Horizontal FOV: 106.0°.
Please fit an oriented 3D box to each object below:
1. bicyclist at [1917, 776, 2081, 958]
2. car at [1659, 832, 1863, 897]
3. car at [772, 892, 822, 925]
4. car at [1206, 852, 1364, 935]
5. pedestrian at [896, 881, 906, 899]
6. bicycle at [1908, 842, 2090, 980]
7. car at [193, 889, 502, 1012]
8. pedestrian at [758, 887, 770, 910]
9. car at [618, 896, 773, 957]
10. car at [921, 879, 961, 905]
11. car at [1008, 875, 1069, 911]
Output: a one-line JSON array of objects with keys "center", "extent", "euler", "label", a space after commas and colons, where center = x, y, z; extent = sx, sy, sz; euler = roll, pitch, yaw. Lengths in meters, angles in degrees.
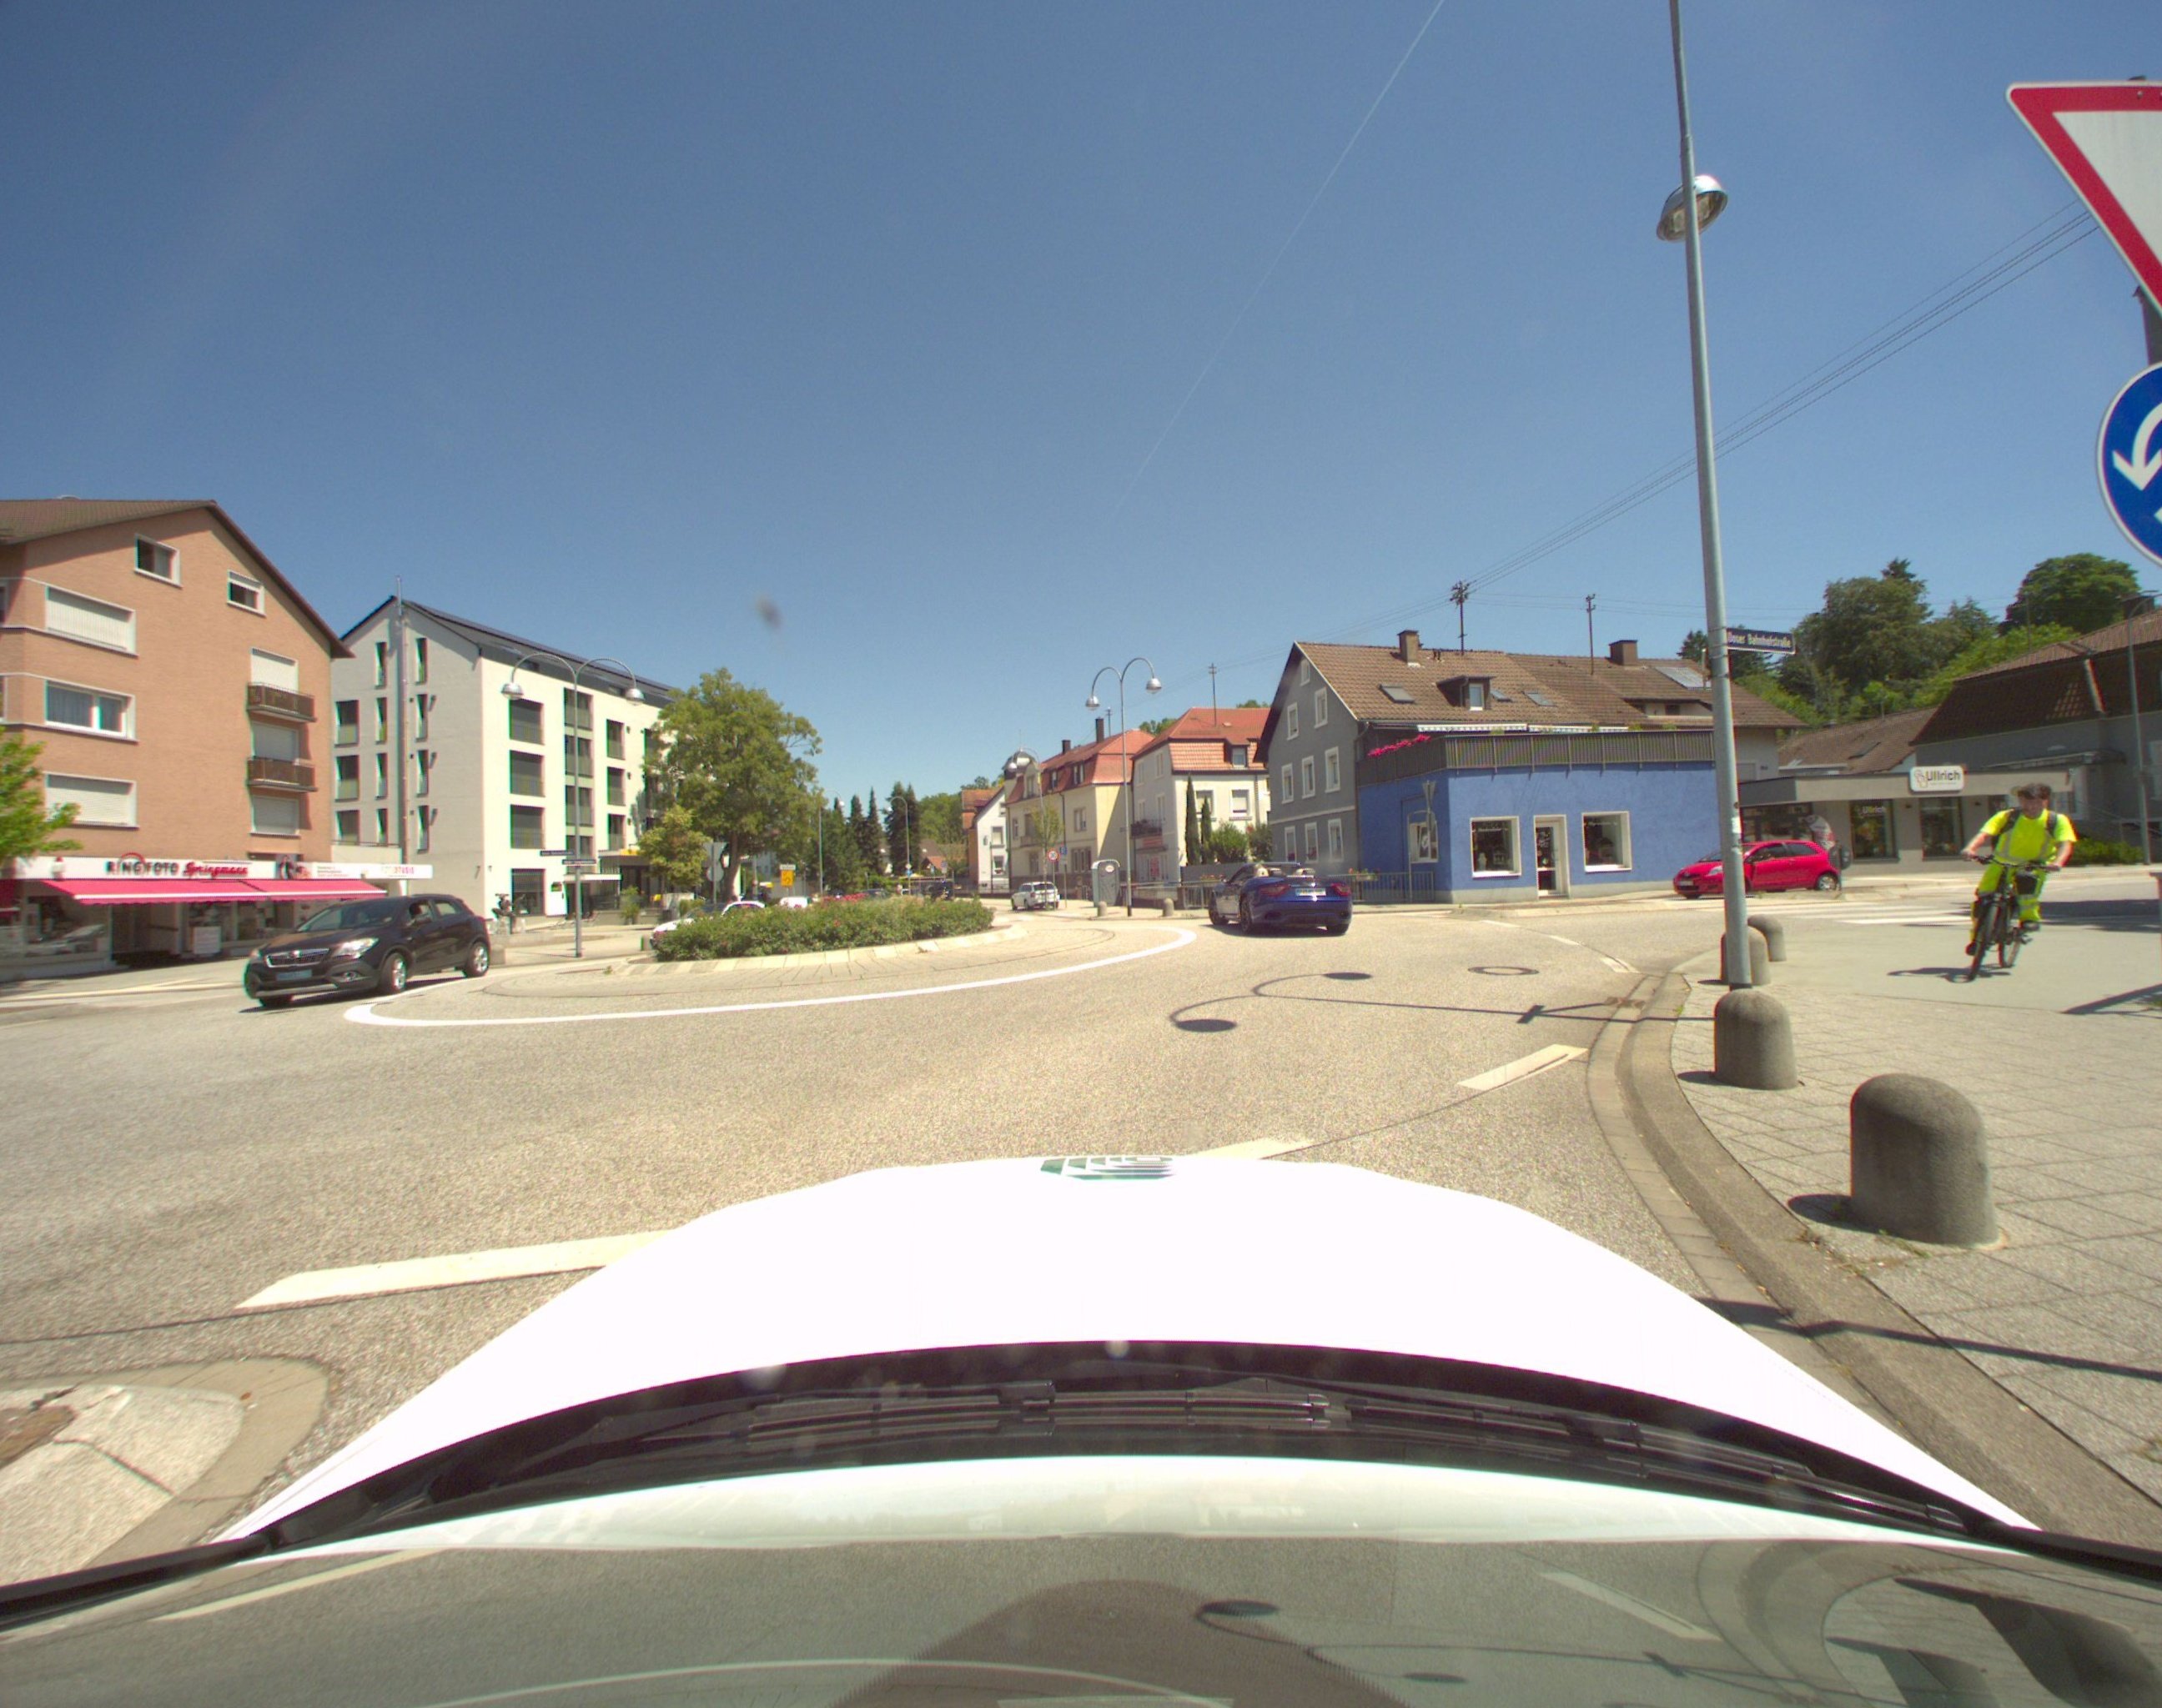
[{"center": [8.927, 0.119, 7.929], "extent": [1.066, 1.635, 0.802], "euler": [-2, -2, -31], "label": "bicyclist"}, {"center": [18.332, 0.310, 22.092], "extent": [3.976, 1.533, 1.833], "euler": [-2, -2, -2], "label": "car"}, {"center": [-14.914, 2.846, 42.981], "extent": [1.795, 1.590, 3.986], "euler": [0, -2, -9], "label": "car"}, {"center": [3.832, 0.731, 16.199], "extent": [1.970, 1.398, 4.625], "euler": [0, -1, -1], "label": "car"}, {"center": [-19.357, 3.859, 87.521], "extent": [0.848, 1.814, 0.544], "euler": [0, -1, -29], "label": "pedestrian"}, {"center": [8.945, 0.507, 7.925], "extent": [1.858, 1.156, 0.802], "euler": [-2, -2, -31], "label": "bicycle"}, {"center": [-12.181, 1.488, 13.998], "extent": [1.995, 1.562, 4.150], "euler": [-5, -1, -11], "label": "car"}, {"center": [-21.170, 2.955, 54.385], "extent": [0.527, 1.485, 0.557], "euler": [-3, -2, 9], "label": "pedestrian"}, {"center": [-11.574, 2.131, 24.817], "extent": [1.913, 1.382, 4.303], "euler": [-5, -1, 13], "label": "car"}, {"center": [-11.236, 3.004, 65.347], "extent": [2.004, 1.865, 4.249], "euler": [0, 0, -27], "label": "car"}, {"center": [-2.362, 2.094, 43.993], "extent": [2.001, 1.584, 4.257], "euler": [-7, -1, -20], "label": "car"}]
